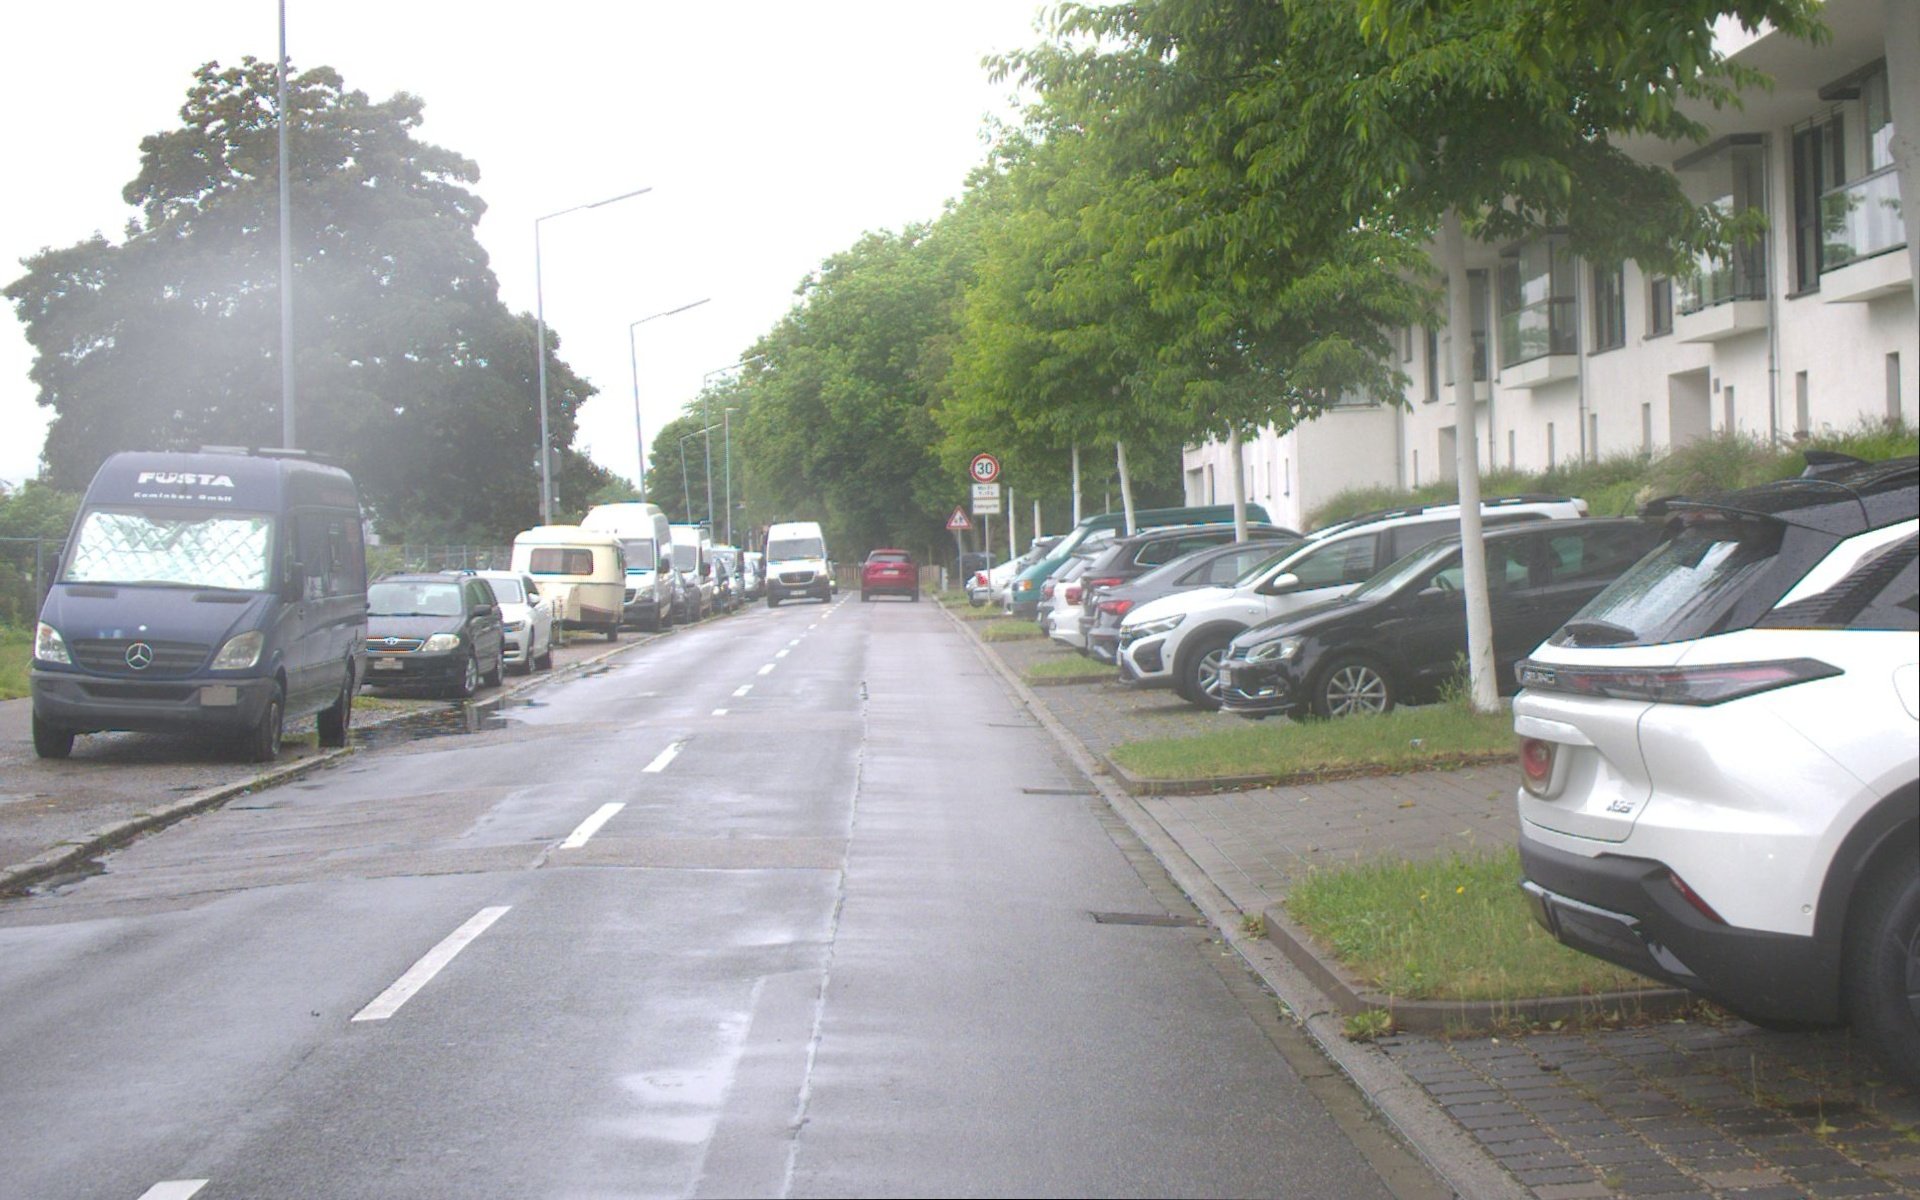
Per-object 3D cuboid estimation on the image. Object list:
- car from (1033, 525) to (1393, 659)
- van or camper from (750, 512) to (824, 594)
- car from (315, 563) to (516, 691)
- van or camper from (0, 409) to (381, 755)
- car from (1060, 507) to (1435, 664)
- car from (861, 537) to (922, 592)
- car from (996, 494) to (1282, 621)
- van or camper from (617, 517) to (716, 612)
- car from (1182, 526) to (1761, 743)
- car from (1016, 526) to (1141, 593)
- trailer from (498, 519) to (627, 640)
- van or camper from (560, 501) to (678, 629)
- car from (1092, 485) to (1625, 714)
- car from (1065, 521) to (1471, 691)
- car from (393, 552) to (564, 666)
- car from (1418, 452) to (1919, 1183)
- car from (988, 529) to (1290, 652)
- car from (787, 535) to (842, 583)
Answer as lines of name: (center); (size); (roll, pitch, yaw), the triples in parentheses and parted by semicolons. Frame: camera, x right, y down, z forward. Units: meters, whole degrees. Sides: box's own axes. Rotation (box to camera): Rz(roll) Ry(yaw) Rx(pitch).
car: (3.161, -0.107, 43.416); (4.298, 1.423, 1.637); (-3, 1, -3)
van or camper: (-5.546, -1.497, 110.860); (1.993, 2.488, 7.178); (-2, 1, 0)
car: (-6.739, 0.293, 42.988); (1.774, 1.497, 4.828); (1, 1, -1)
van or camper: (-6.787, -0.152, 31.138); (2.094, 2.706, 7.575); (1, 0, -3)
car: (3.393, -0.183, 41.075); (4.161, 1.619, 1.898); (-3, 1, -3)
car: (-2.214, -1.122, 109.994); (1.756, 1.700, 4.000); (-2, 0, -3)
car: (3.034, -0.723, 58.725); (4.617, 2.012, 1.858); (-2, 1, -5)
van or camper: (-7.797, -0.946, 91.939); (2.189, 2.453, 6.377); (0, 0, -1)
car: (3.818, 0.228, 26.121); (3.986, 1.490, 1.937); (-1, 1, -4)
car: (4.097, -1.395, 118.928); (3.991, 2.285, 1.775); (0, 0, 19)
trailer: (-7.525, -0.414, 65.571); (2.058, 2.210, 5.795); (0, 1, -3)
van or camper: (-7.665, -0.779, 77.957); (1.993, 2.752, 7.898); (0, 0, -1)
car: (3.576, -0.028, 31.440); (4.476, 1.681, 1.936); (-5, 1, -2)
car: (3.171, 0.039, 35.887); (3.987, 1.504, 1.684); (-3, 2, -1)
car: (-6.882, 0.092, 49.636); (1.887, 1.520, 5.110); (1, 1, -2)
car: (3.753, 0.317, 9.372); (4.539, 1.679, 1.886); (-6, 1, -3)
car: (2.511, -0.141, 48.749); (4.030, 1.494, 1.632); (-3, 1, -4)
car: (-5.538, -1.571, 131.630); (1.881, 1.751, 4.068); (-1, 1, 0)
